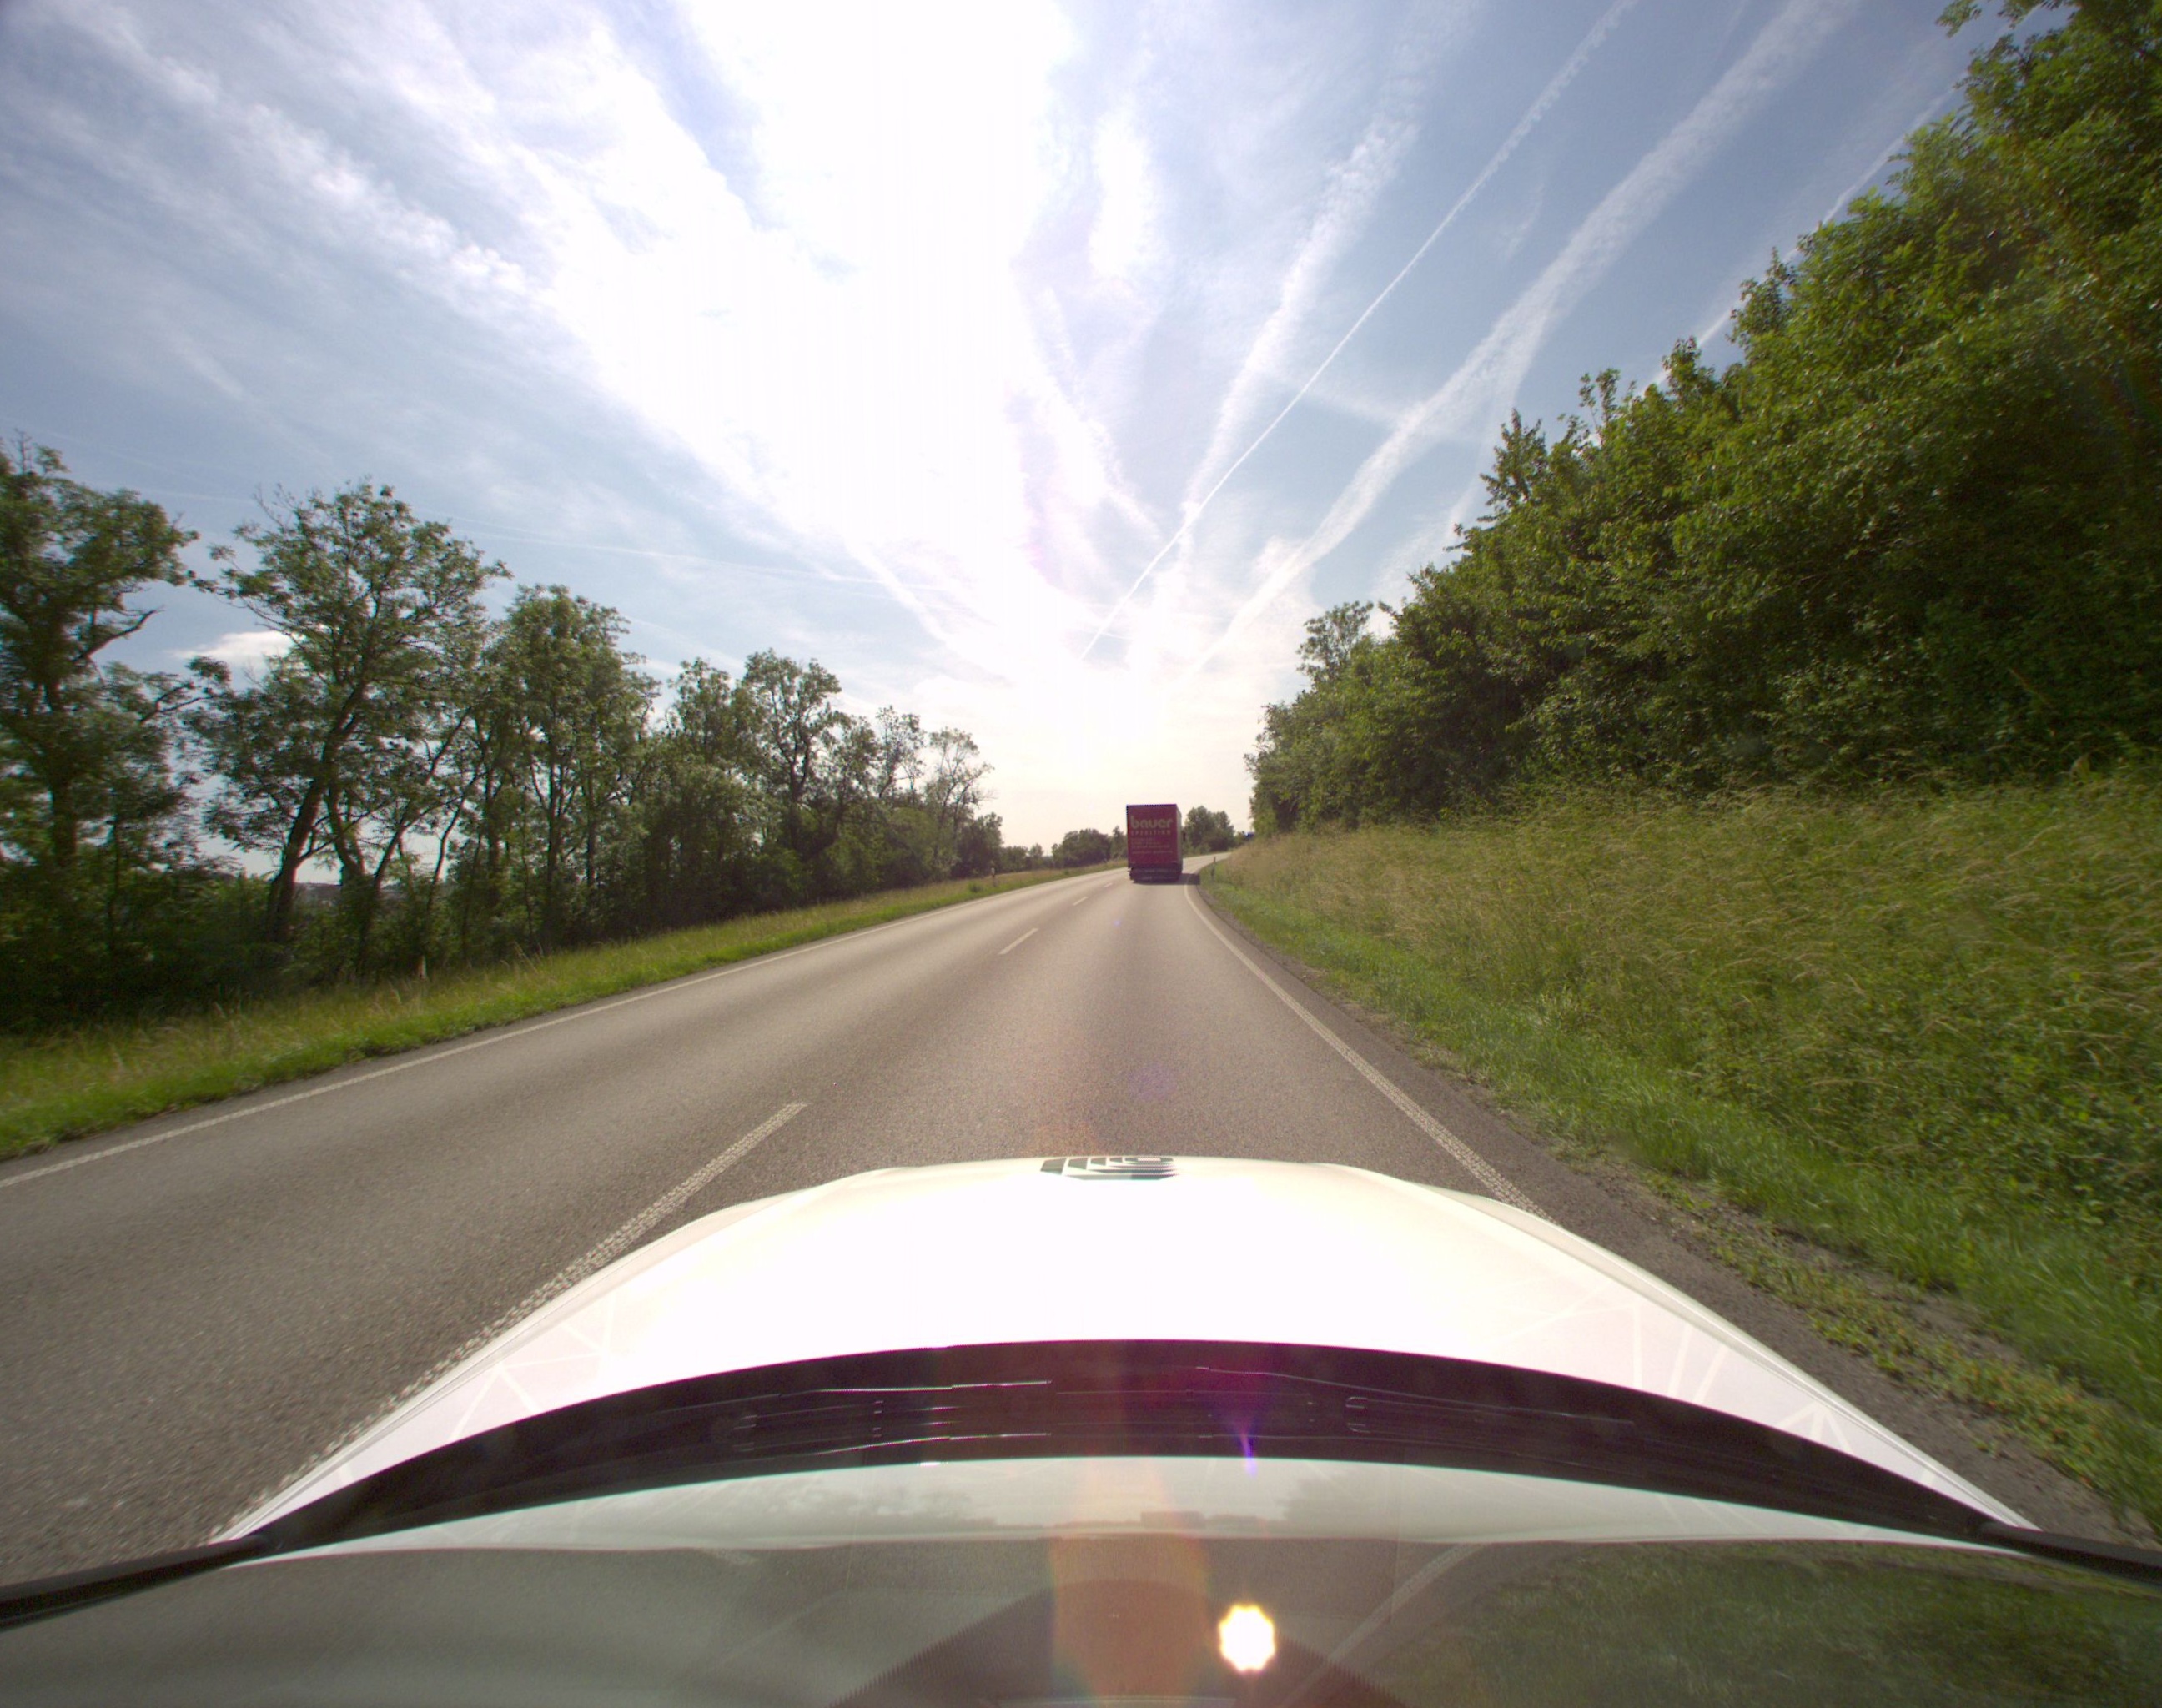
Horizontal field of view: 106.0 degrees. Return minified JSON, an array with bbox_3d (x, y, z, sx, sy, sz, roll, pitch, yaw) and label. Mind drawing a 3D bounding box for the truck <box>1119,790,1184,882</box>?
[{"bbox_3d":[4.141,-0.935,46.685,3.097,4.505,12.188,-1,0,6],"label":"truck"}]
